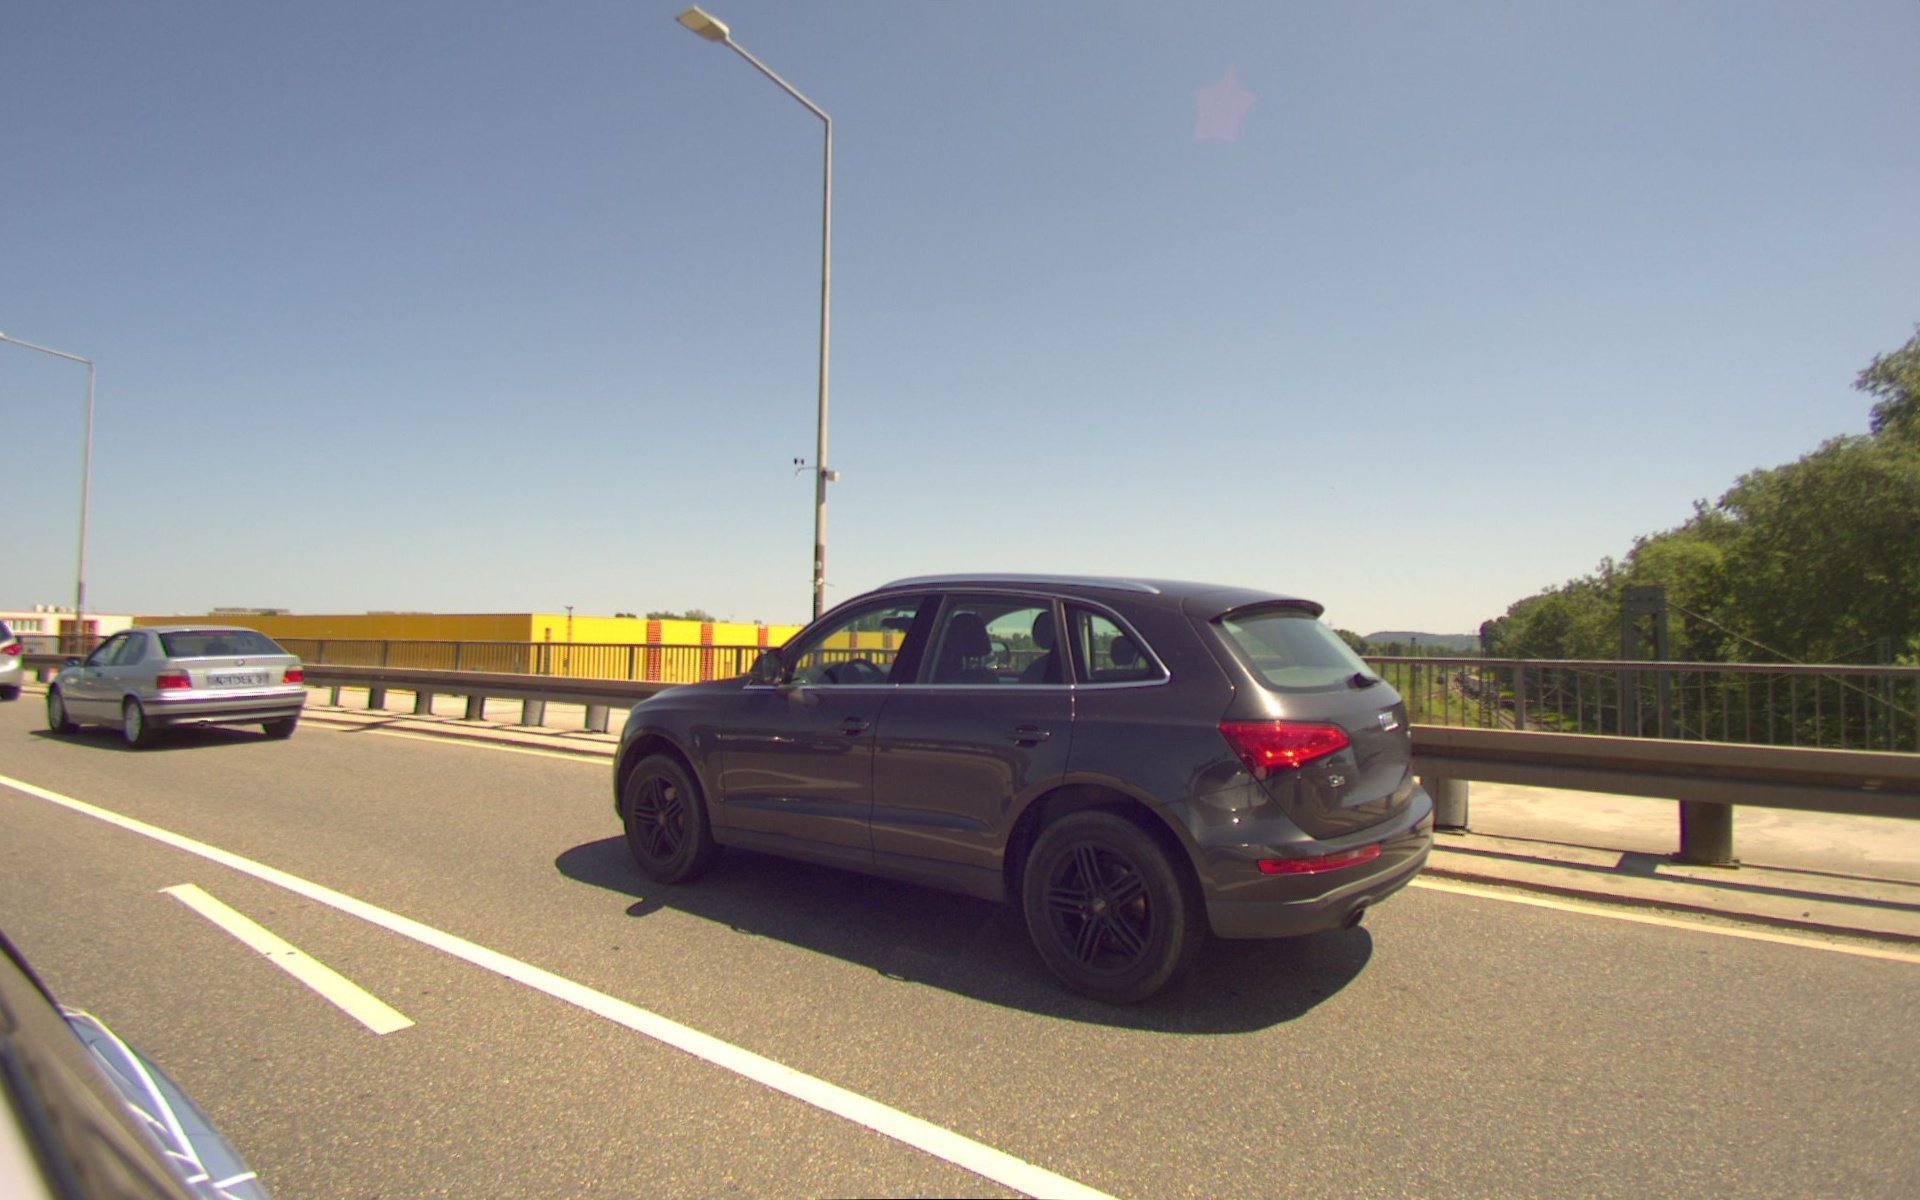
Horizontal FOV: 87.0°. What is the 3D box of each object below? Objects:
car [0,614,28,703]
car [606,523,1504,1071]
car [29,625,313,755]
[{"bbox_3d":[-19.084,1.052,18.473,4.156,1.592,1.726,-1,-1,27],"label":"car"},{"bbox_3d":[0.171,0.643,5.138,4.296,1.653,1.783,-1,-2,40],"label":"car"},{"bbox_3d":[-9.909,1.004,12.629,3.990,1.386,1.682,-1,-2,35],"label":"car"}]
